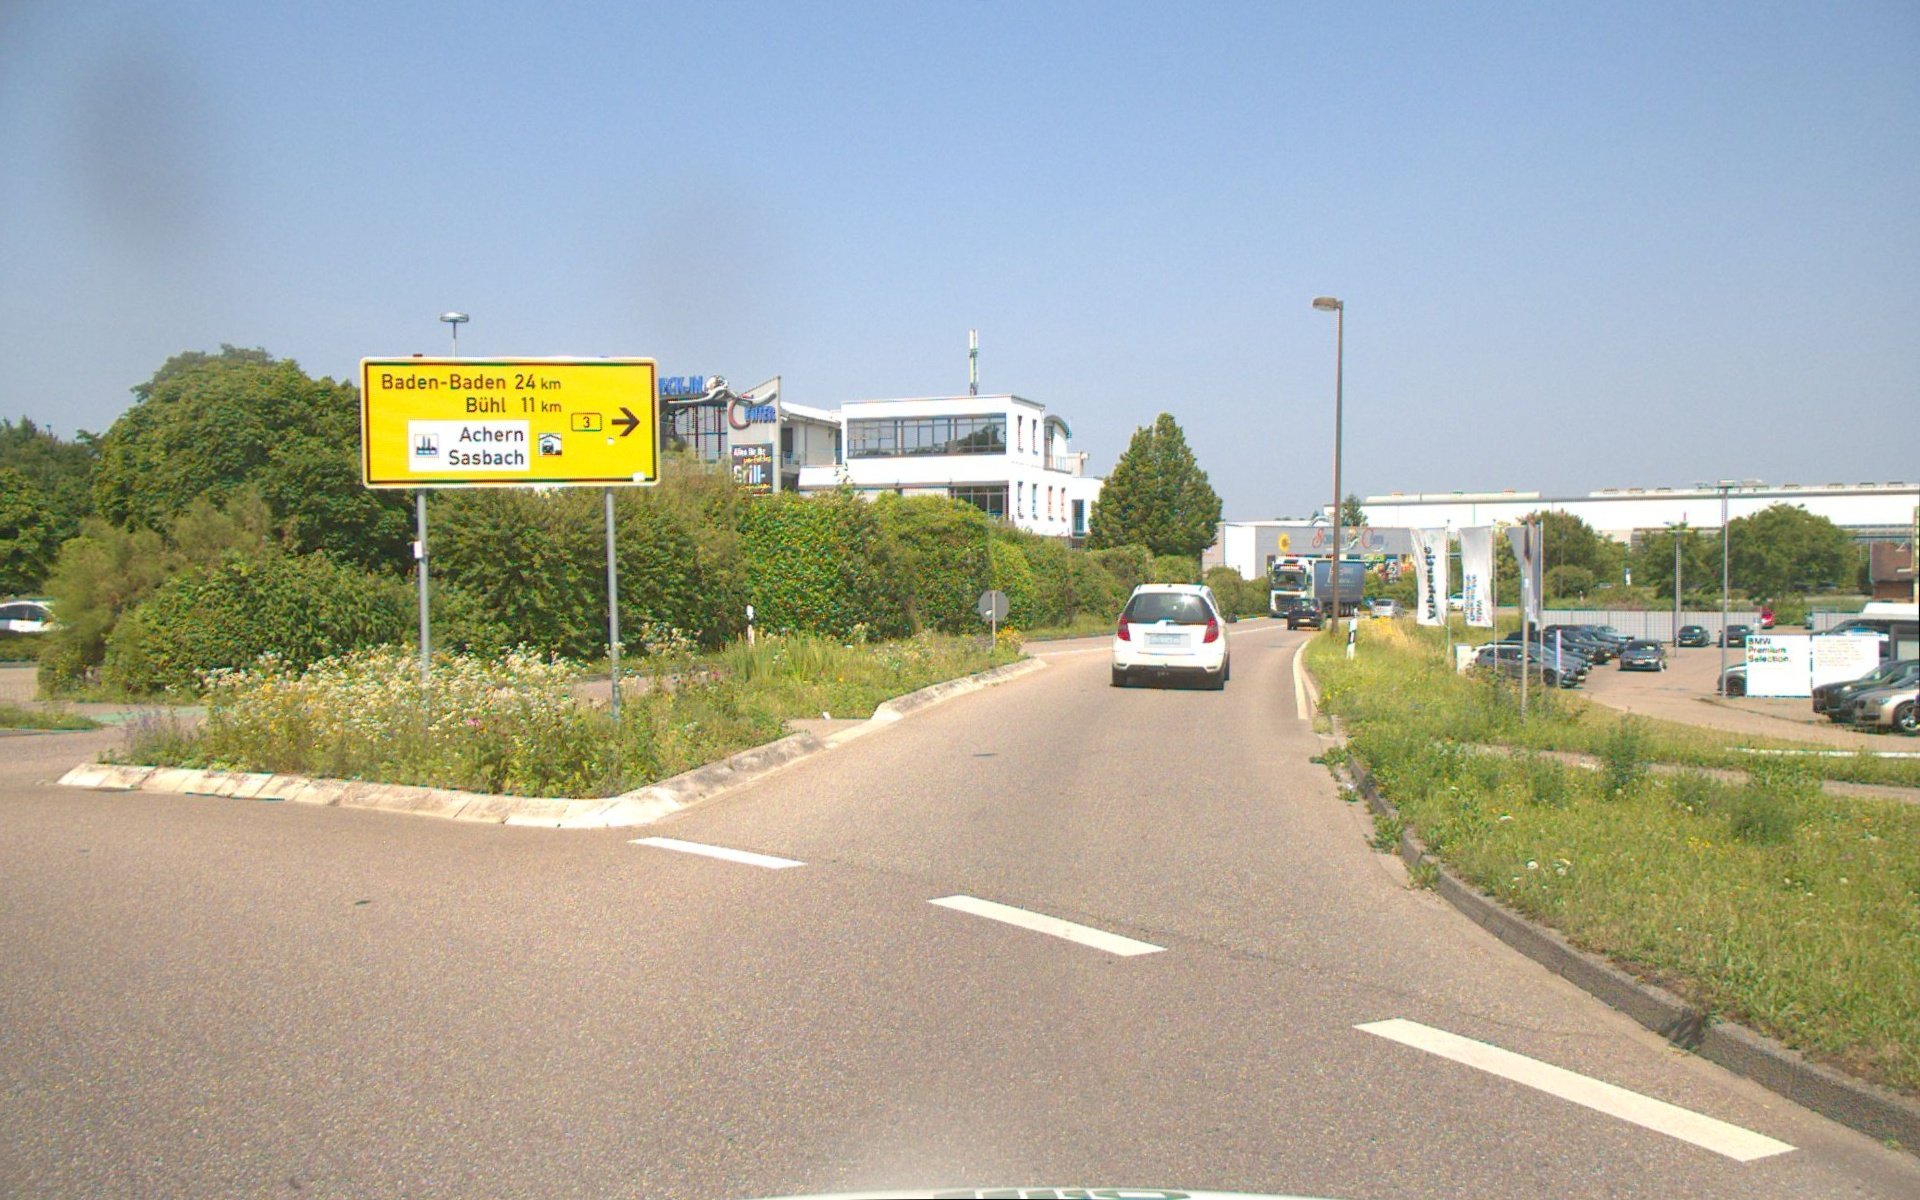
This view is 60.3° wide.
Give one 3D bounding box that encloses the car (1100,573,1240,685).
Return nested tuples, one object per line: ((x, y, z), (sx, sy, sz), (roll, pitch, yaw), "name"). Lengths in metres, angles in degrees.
((3.477, 0.428, 26.775), (1.743, 1.631, 3.896), (2, 0, 14), "car")

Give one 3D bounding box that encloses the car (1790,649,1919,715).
((25.084, 2.200, 44.539), (4.386, 1.669, 2.149), (1, -1, 5), "car")

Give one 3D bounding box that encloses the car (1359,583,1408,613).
((30.727, -0.139, 119.934), (1.962, 2.049, 3.982), (1, 0, 38), "car")

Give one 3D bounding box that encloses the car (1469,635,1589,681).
((21.876, 2.199, 63.695), (1.675, 1.549, 4.109), (1, 0, -41), "car")

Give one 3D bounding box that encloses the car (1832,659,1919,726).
((23.738, 2.179, 39.562), (4.664, 1.534, 2.001), (-1, -2, 9), "car")

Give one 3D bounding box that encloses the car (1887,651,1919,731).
((23.553, 1.998, 37.244), (4.157, 1.779, 2.001), (-2, -3, 9), "car")

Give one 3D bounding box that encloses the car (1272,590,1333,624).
((16.321, 0.331, 78.655), (1.793, 1.496, 4.405), (1, 0, 26), "car")

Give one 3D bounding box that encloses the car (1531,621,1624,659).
((32.111, 2.041, 86.083), (1.899, 1.730, 4.179), (-2, 2, -38), "car")

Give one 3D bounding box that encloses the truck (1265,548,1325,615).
((22.501, -1.195, 110.853), (2.464, 4.332, 6.106), (0, 0, 27), "truck")

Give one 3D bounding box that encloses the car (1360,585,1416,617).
((29.074, 0.090, 112.289), (1.967, 2.049, 3.971), (1, 0, 44), "car")

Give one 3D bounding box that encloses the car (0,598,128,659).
((-24.951, 0.753, 45.305), (3.911, 1.601, 1.997), (0, 0, 29), "car")

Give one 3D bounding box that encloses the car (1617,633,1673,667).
((33.387, 2.411, 80.593), (2.094, 1.483, 4.525), (1, 0, 28), "car")

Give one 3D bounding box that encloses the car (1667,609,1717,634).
((48.080, 1.437, 108.587), (1.822, 1.561, 4.619), (1, 0, 40), "car")

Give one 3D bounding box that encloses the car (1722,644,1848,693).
((29.615, 2.442, 59.439), (3.736, 1.549, 1.741), (2, 0, 42), "car")

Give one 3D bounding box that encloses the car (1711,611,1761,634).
((50.214, 1.430, 107.005), (1.963, 1.422, 3.979), (1, 0, 40), "car")

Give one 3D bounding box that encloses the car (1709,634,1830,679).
((30.701, 2.112, 62.759), (3.891, 1.550, 1.745), (1, 0, 36), "car")

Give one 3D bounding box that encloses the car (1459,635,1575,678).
((22.517, 2.265, 66.962), (4.102, 1.549, 1.739), (2, 0, 44), "car")

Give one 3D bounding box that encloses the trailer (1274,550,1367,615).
((25.668, -1.133, 117.079), (2.619, 4.315, 14.547), (2, 0, 27), "trailer")
